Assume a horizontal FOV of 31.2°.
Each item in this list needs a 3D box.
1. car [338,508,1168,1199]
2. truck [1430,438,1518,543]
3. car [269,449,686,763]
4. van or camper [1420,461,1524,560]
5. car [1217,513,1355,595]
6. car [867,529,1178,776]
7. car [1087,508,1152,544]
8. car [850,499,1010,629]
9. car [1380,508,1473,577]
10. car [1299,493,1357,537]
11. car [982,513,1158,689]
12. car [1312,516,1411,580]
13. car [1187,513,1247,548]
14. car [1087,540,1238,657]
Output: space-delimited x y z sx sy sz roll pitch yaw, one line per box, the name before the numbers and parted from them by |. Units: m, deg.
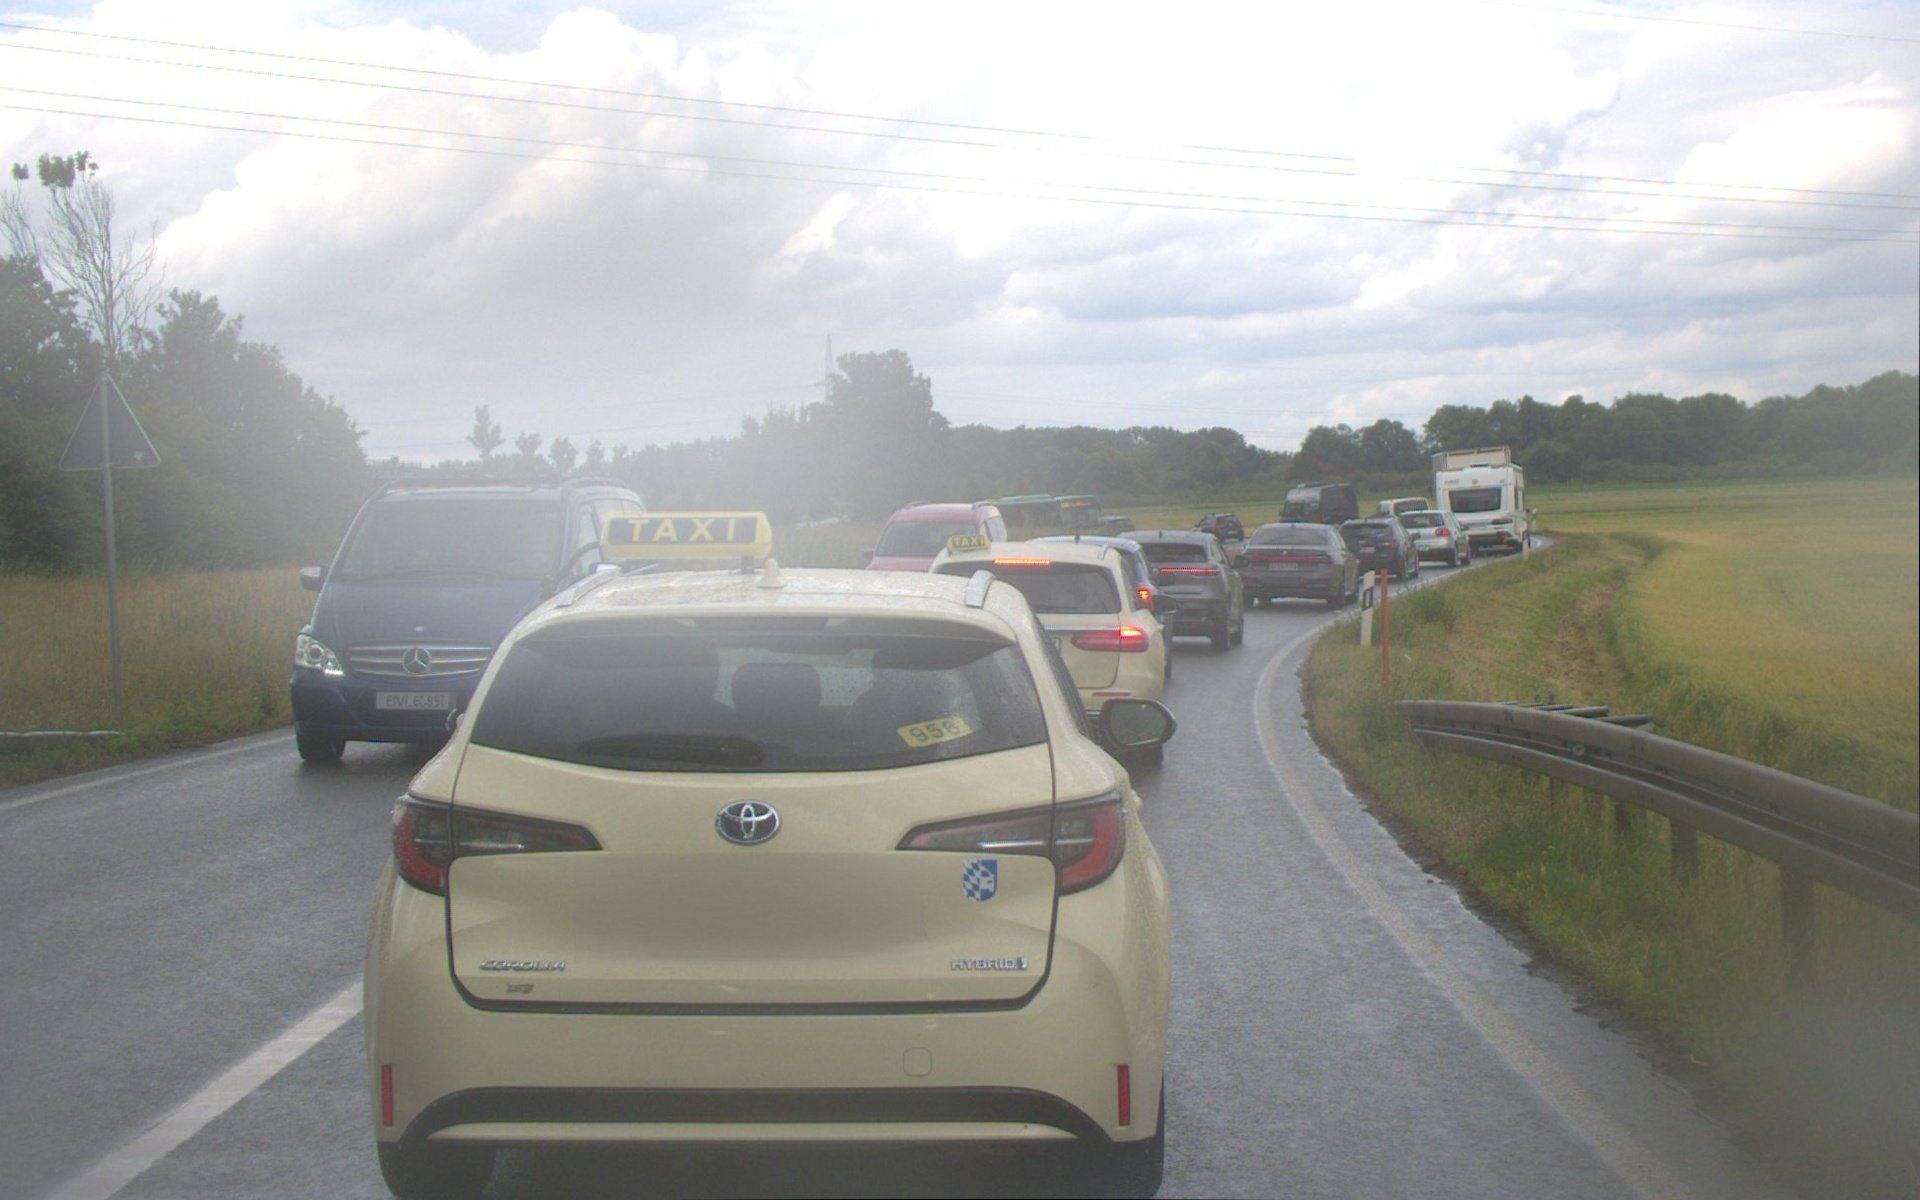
car | -0.418 0.590 8.617 1.613 1.557 3.738 1 1 0
truck | 19.721 -4.159 132.239 3.127 3.839 7.384 1 0 7
car | -3.307 0.013 24.597 1.962 2.007 4.860 0 1 4
van or camper | 15.509 -2.718 103.798 2.538 2.886 6.739 1 2 13
car | 5.913 -0.822 61.996 1.961 1.408 4.390 1 1 12
car | 0.531 0.279 23.792 1.841 1.487 4.607 1 2 5
car | 9.040 -4.171 195.075 1.911 2.007 4.132 1 1 -25
car | -0.399 -0.529 51.408 1.802 1.844 4.519 0 0 7
car | 12.158 -1.486 89.384 1.961 1.723 3.736 1 1 14
car | 17.702 -4.081 165.361 1.739 2.007 4.148 1 0 -9
car | 1.155 -0.007 34.595 1.613 1.653 3.738 1 0 4
car | 9.186 -1.175 78.456 1.826 1.408 3.736 1 1 13
car | 13.645 -3.684 182.579 1.993 1.761 4.108 1 1 -14
car | 2.619 -0.031 43.884 1.613 1.408 3.737 1 1 8
